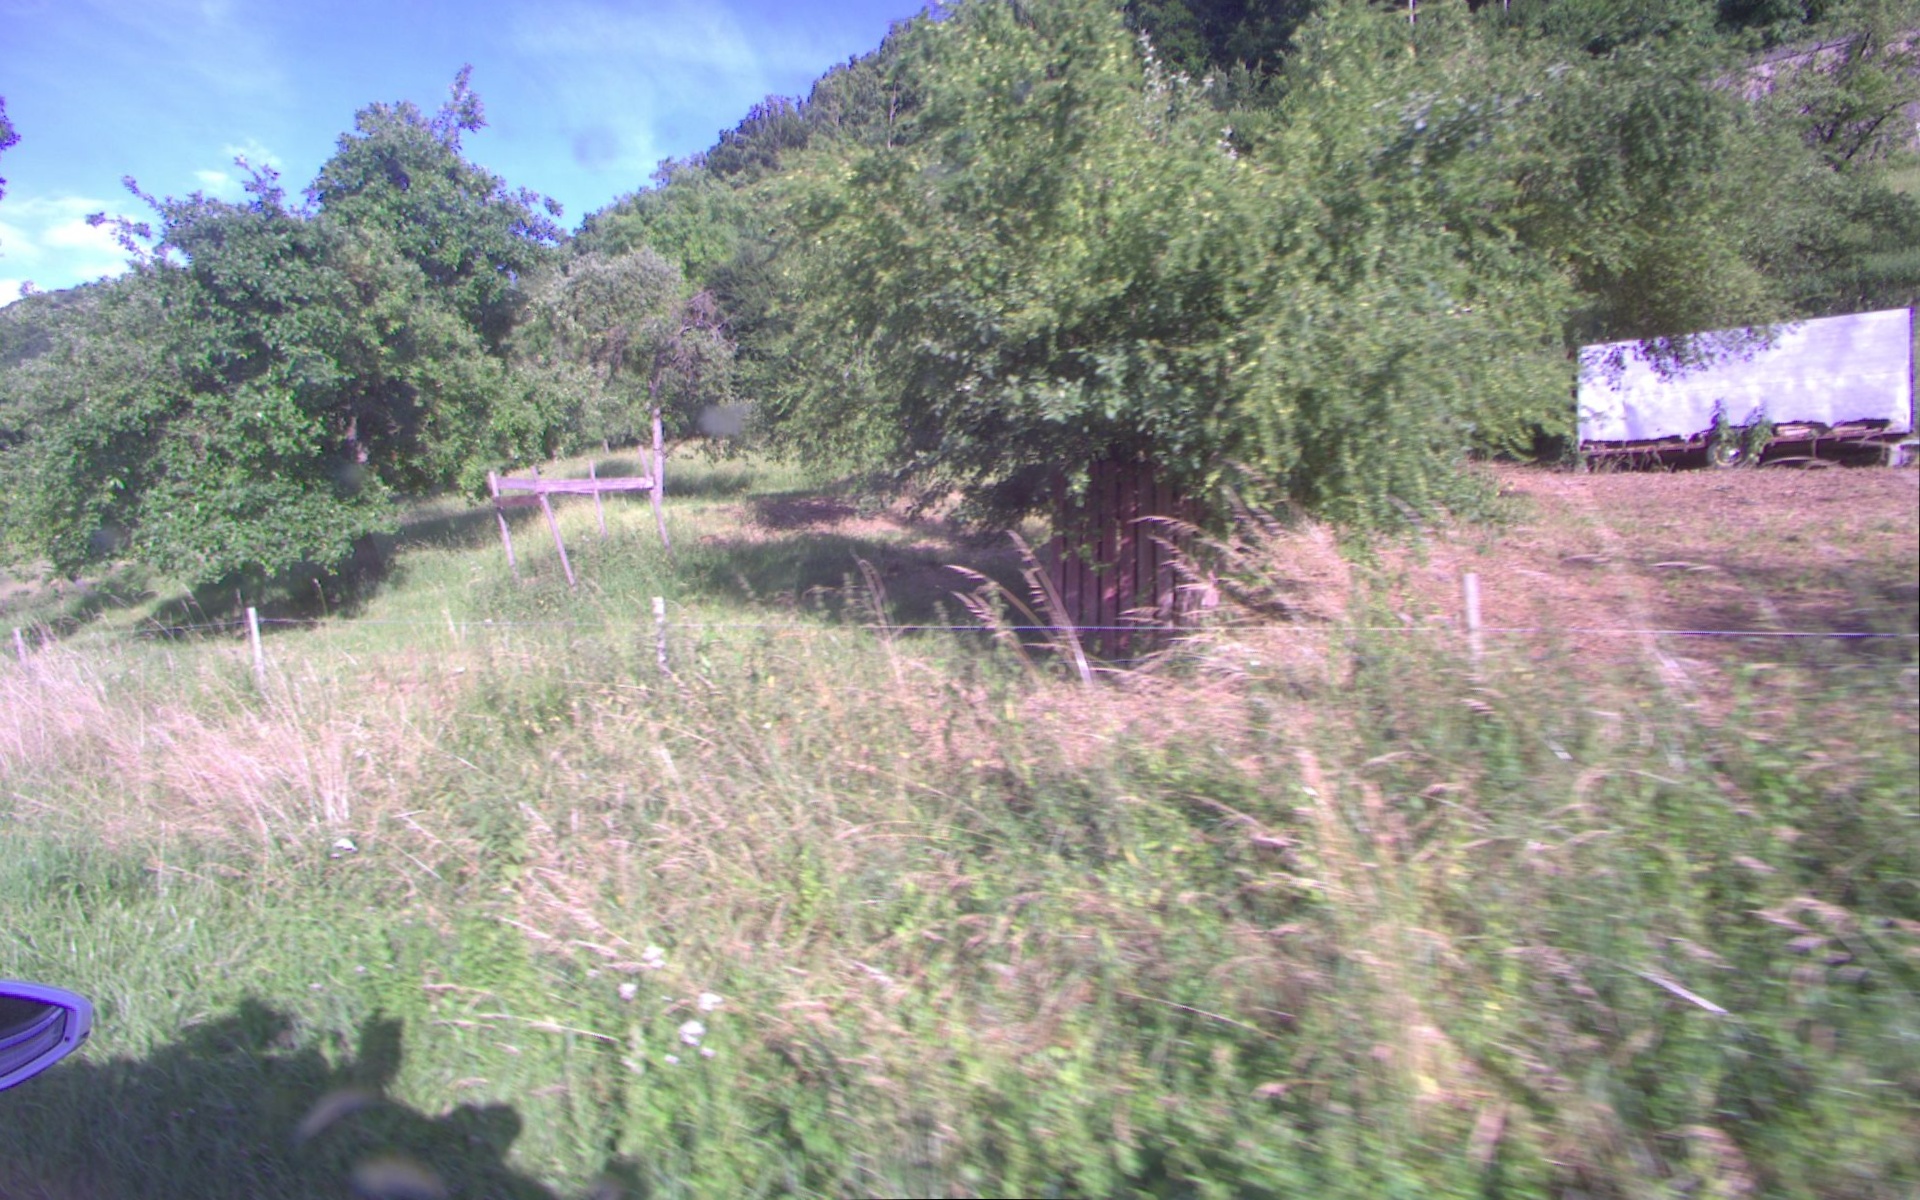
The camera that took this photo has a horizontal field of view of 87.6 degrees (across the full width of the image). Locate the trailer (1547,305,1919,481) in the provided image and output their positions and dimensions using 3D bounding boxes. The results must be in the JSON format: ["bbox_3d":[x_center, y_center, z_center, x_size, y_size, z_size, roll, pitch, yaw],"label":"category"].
[{"bbox_3d":[13.959,-3.633,18.496,5.164,2.595,2.149,3,4,29],"label":"trailer"}]
